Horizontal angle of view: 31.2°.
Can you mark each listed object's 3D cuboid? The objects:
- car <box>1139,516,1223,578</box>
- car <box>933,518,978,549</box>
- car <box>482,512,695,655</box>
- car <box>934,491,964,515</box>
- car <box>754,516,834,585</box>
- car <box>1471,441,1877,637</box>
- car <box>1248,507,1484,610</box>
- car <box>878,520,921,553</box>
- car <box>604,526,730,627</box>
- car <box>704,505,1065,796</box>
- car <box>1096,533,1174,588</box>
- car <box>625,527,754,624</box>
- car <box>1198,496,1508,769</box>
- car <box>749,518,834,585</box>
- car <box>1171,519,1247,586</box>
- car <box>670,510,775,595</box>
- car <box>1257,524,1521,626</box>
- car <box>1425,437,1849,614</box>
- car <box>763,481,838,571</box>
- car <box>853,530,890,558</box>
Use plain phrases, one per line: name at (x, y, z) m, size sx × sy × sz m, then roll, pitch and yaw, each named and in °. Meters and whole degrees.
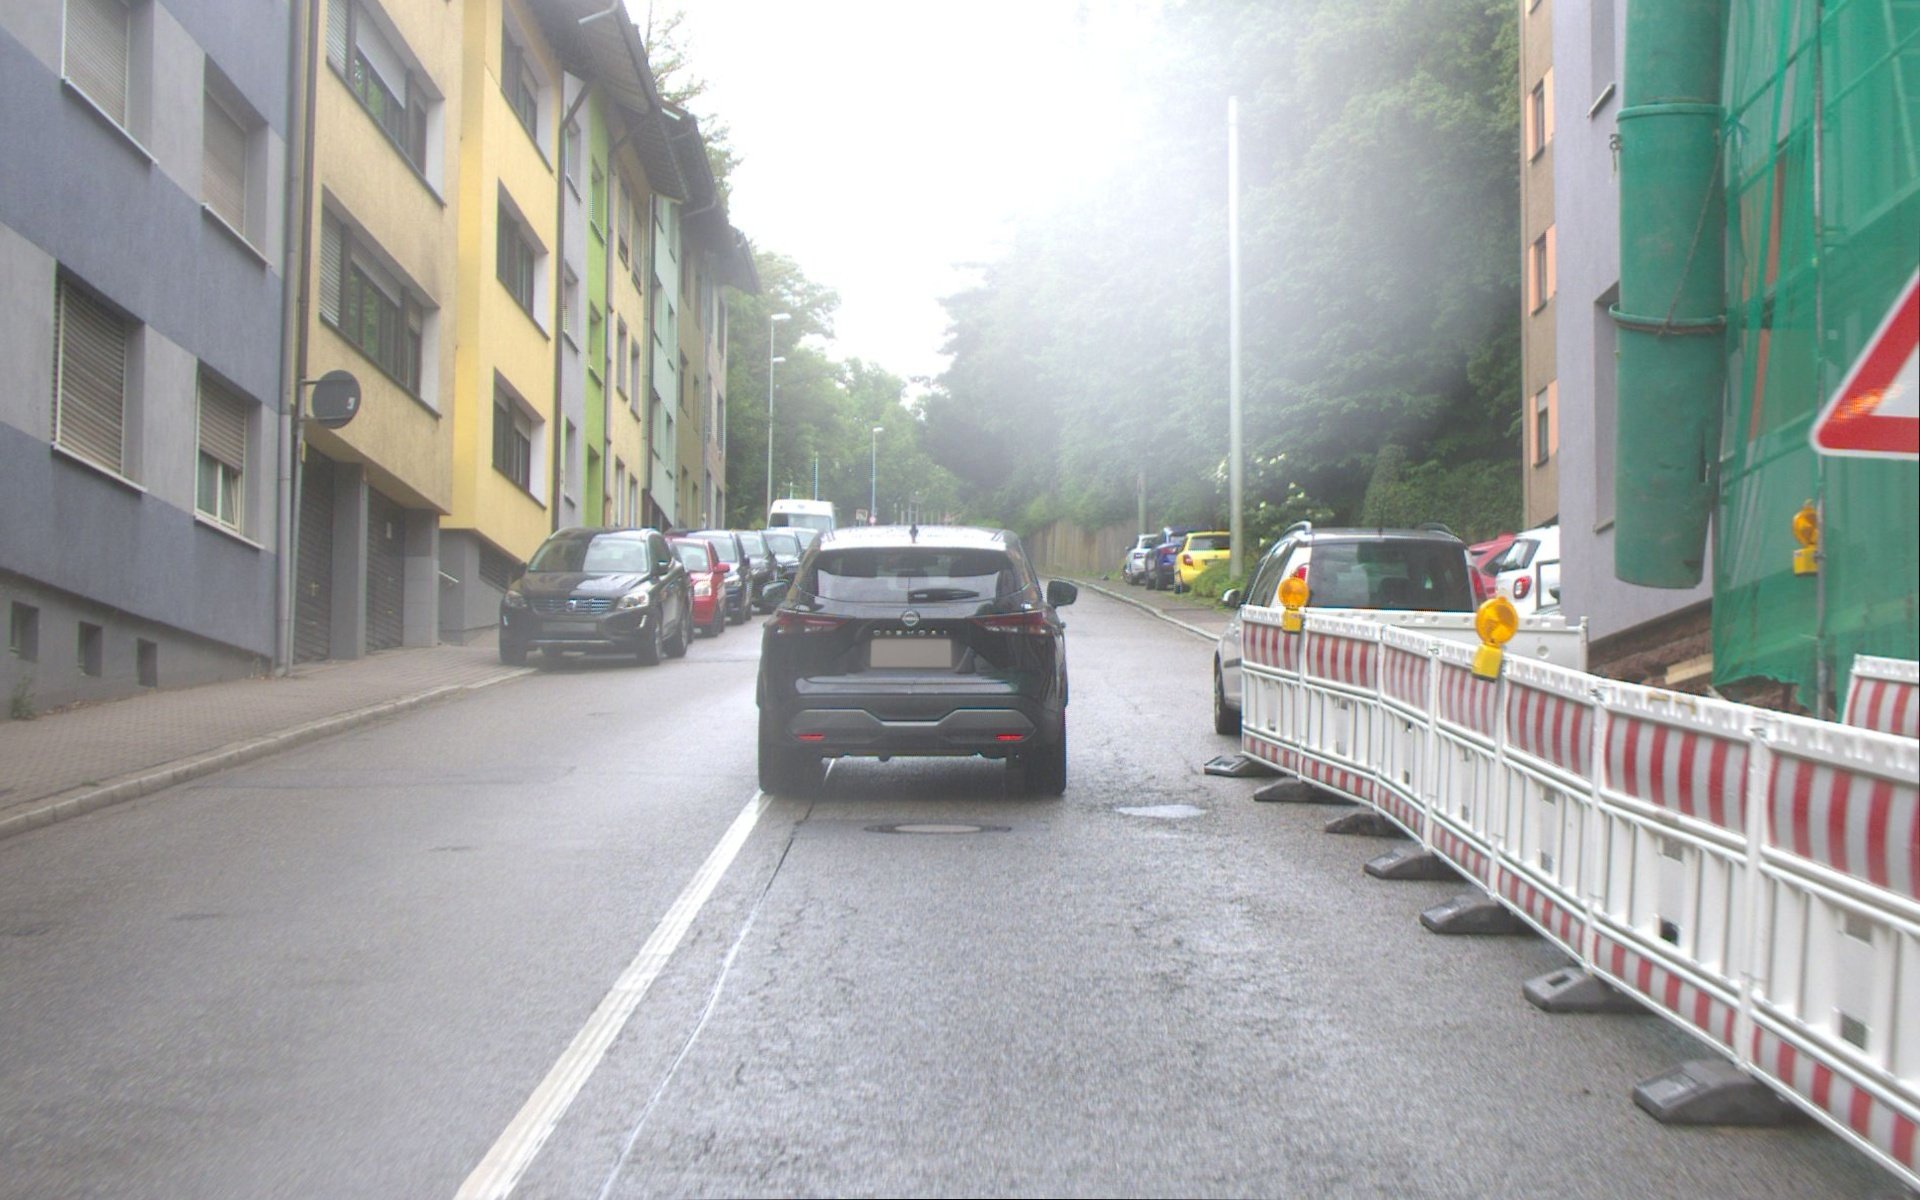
car at (5.715, -1.392, 89.270) m, size 1.811 × 1.525 × 4.417 m, roll -1°, pitch 1°, yaw -1°
car at (-0.244, -3.409, 176.149) m, size 2.074 × 1.554 × 4.001 m, roll 1°, pitch 1°, yaw -3°
car at (-4.520, -0.252, 42.464) m, size 1.993 × 1.644 × 4.441 m, roll 0°, pitch 2°, yaw 2°
car at (-0.762, -6.826, 242.283) m, size 1.993 × 1.554 × 4.000 m, roll 0°, pitch -1°, yaw 2°
car at (-4.329, -1.329, 90.412) m, size 1.990 × 1.749 × 4.480 m, roll 0°, pitch 2°, yaw -1°
car at (7.586, -0.659, 36.757) m, size 3.826 × 1.696 × 1.729 m, roll -5°, pitch 1°, yaw -1°
car at (7.877, -0.815, 66.890) m, size 4.197 × 1.728 × 1.760 m, roll 3°, pitch 1°, yaw -4°
car at (-3.051, -3.188, 172.269) m, size 2.074 × 1.554 × 4.001 m, roll 1°, pitch 1°, yaw -2°
car at (-4.482, -0.382, 52.963) m, size 1.728 × 1.467 × 3.492 m, roll 0°, pitch 2°, yaw -1°
car at (-0.440, 0.233, 21.464) m, size 1.993 × 1.554 × 4.000 m, roll 2°, pitch 2°, yaw 0°
car at (5.066, -1.155, 99.920) m, size 1.810 × 1.525 × 4.418 m, roll -1°, pitch 1°, yaw -3°
car at (-4.649, -0.460, 59.658) m, size 1.993 × 1.579 × 4.472 m, roll 0°, pitch 2°, yaw -1°
car at (2.786, 0.161, 25.174) m, size 1.640 × 1.756 × 4.001 m, roll 2°, pitch 2°, yaw -2°
car at (-4.130, -1.226, 84.691) m, size 1.990 × 1.579 × 4.306 m, roll 0°, pitch 2°, yaw -1°
car at (5.943, -1.154, 82.308) m, size 1.633 × 1.525 × 4.000 m, roll 2°, pitch 1°, yaw 2°
car at (-4.587, -0.958, 66.942) m, size 1.853 × 1.579 × 4.306 m, roll 0°, pitch 2°, yaw -1°
car at (7.337, -0.434, 59.066) m, size 4.197 × 1.491 × 1.760 m, roll 3°, pitch 1°, yaw -2°
car at (7.700, -0.856, 39.372) m, size 4.341 × 1.524 × 1.877 m, roll -6°, pitch 1°, yaw -1°
car at (-4.494, -2.128, 97.763) m, size 1.990 × 2.466 × 5.785 m, roll 0°, pitch 2°, yaw -1°
car at (-5.069, -3.216, 197.483) m, size 2.074 × 1.554 × 4.001 m, roll 1°, pitch 1°, yaw -1°
